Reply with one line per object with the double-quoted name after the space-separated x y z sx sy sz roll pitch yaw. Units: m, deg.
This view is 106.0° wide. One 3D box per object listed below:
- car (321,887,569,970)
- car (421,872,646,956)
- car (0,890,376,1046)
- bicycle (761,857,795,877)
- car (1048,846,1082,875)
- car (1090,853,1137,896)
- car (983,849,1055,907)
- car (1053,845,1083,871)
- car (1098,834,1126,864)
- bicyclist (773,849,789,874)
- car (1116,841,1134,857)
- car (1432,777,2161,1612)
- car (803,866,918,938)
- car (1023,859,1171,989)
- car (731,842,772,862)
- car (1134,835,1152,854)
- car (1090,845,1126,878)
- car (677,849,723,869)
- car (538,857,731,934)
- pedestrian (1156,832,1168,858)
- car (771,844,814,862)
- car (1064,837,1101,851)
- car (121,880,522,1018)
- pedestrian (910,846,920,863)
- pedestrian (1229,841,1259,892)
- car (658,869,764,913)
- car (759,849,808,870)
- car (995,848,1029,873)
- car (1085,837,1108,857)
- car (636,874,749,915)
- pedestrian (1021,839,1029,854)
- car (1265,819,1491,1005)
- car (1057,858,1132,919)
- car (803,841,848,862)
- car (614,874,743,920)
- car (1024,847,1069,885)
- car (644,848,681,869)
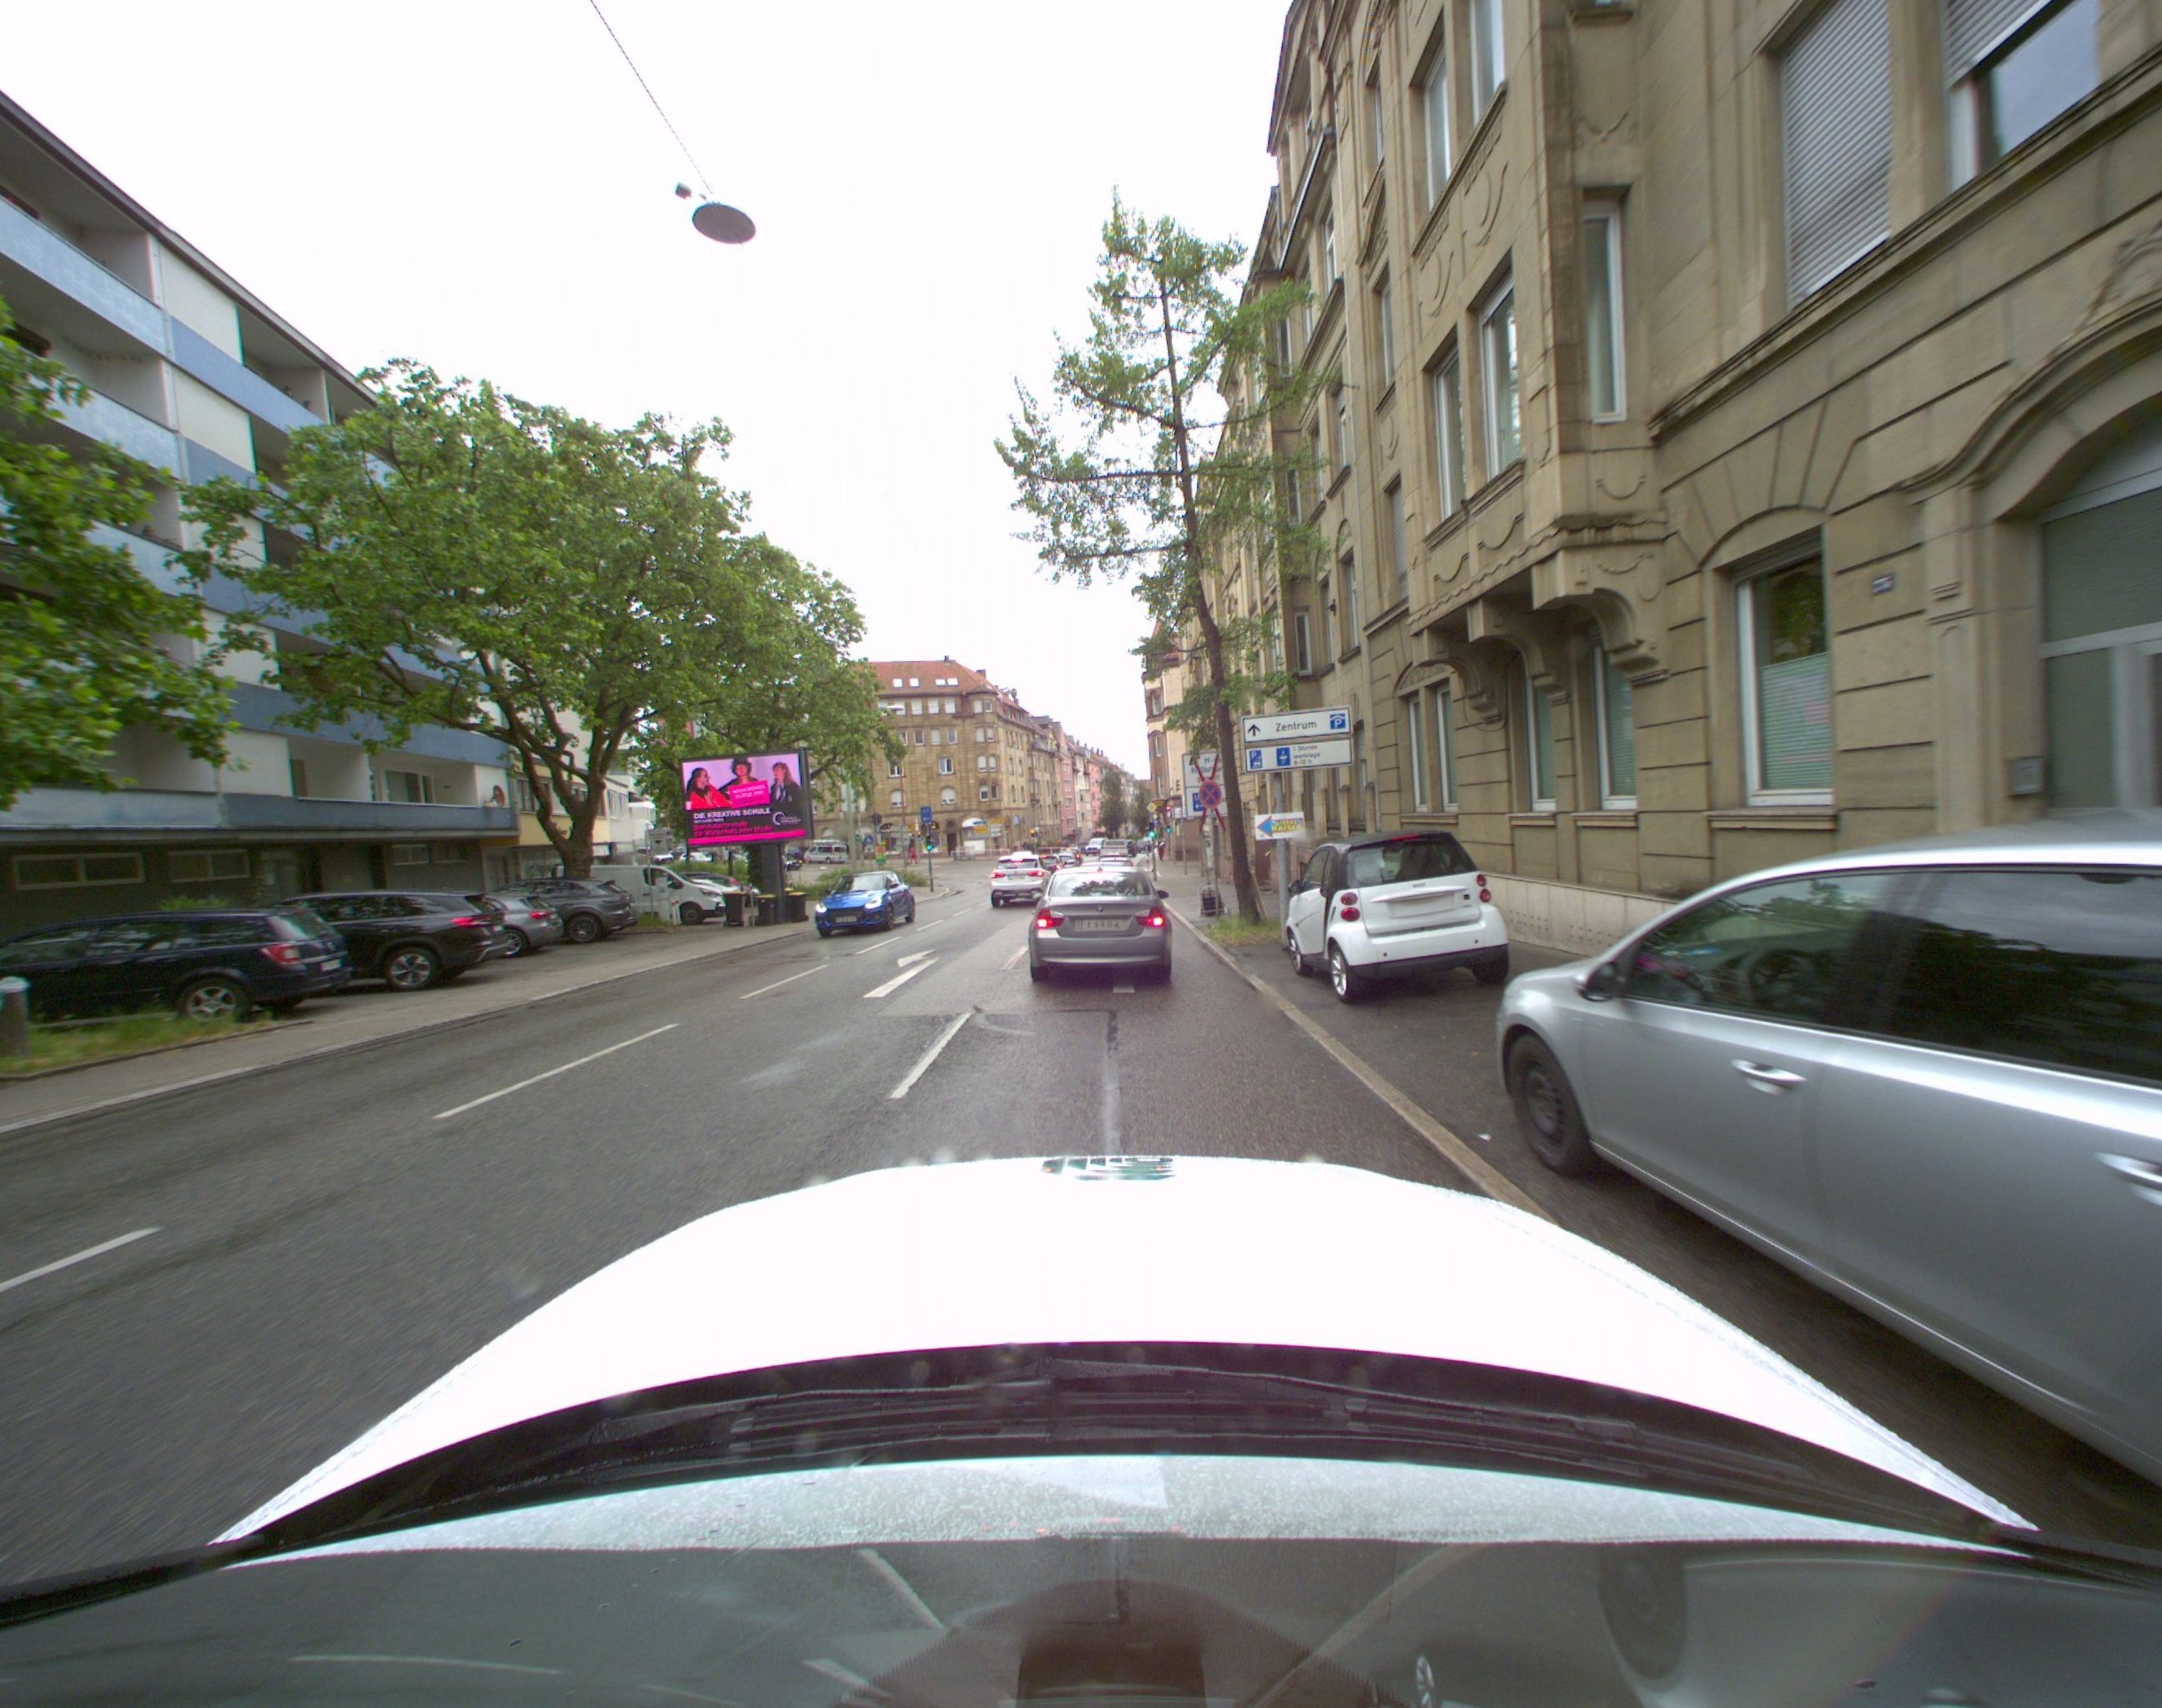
-13.798 1.570 17.973 3.939 1.430 1.734 -2 -1 -23 "car"
-13.888 1.458 20.981 4.369 1.784 1.927 -2 -1 -19 "car"
-12.507 1.451 10.731 4.372 1.574 1.930 -4 0 -21 "car"
-22.667 0.999 60.921 0.665 1.320 2.290 -4 0 42 "bicycle"
-0.957 0.379 50.261 1.752 1.707 4.004 -2 0 3 "car"
1.221 0.694 29.805 1.588 1.464 4.004 0 0 3 "car"
-1.985 0.743 27.236 1.861 1.625 4.002 -4 1 2 "car"
-0.892 0.279 57.569 1.752 1.707 4.004 -2 0 3 "car"
2.365 -0.351 61.178 1.986 2.106 4.002 -1 0 2 "car"
-22.484 0.584 61.025 0.775 1.821 0.775 -4 0 42 "bicyclist"
4.344 -0.466 80.096 1.717 1.552 4.004 0 -1 4 "car"
2.818 0.572 2.463 1.753 1.451 4.002 -7 0 2 "car"
-5.447 1.136 20.628 1.709 1.450 3.742 -6 0 1 "car"
0.288 0.805 10.965 1.616 1.383 3.618 -2 0 3 "car"
-36.332 -0.269 89.772 4.237 2.101 2.013 0 2 30 "car"
6.892 -1.084 90.668 1.715 2.014 4.009 0 -1 8 "car"
1.428 0.351 42.802 1.753 1.567 4.001 -2 0 1 "car"
-37.376 0.492 79.817 4.195 1.726 2.013 -1 2 31 "car"
-14.130 1.268 26.137 5.075 2.105 1.980 -2 -1 -19 "car"
6.138 -0.652 61.696 0.739 1.910 0.659 -3 0 1 "pedestrian"
-30.581 -0.139 86.296 4.237 1.838 2.013 0 2 30 "car"
0.259 -1.440 116.292 5.157 2.014 2.699 0 -1 1 "car"
-12.161 1.433 13.478 4.381 1.672 1.842 -4 0 -21 "car"
-15.888 0.075 77.971 0.531 1.577 0.724 -3 0 26 "pedestrian"
5.068 0.375 25.355 0.629 1.508 0.693 -7 0 1 "pedestrian"
-16.388 1.612 36.307 4.138 1.653 1.757 -2 -1 -21 "car"
-26.870 0.482 73.532 4.194 1.726 2.013 -1 2 33 "car"
-4.879 0.455 58.096 1.731 1.526 4.473 -6 0 2 "car"
1.654 -0.751 86.493 1.751 1.925 4.335 -3 0 9 "car"
-16.101 1.657 33.951 3.984 1.450 1.758 -2 -1 -19 "car"
-5.988 -0.803 87.365 0.727 1.577 0.530 -3 0 11 "pedestrian"
3.028 0.525 8.871 1.294 1.543 2.977 -7 0 2 "car"
0.442 0.829 21.534 1.752 1.383 4.004 -2 0 3 "car"
-26.236 -0.246 83.654 4.237 2.101 2.013 0 2 30 "car"
-15.338 1.618 31.282 4.184 1.456 1.783 -2 -1 -19 "car"
-1.625 0.552 39.936 1.752 1.707 4.004 -2 0 3 "car"
-42.808 0.466 83.336 3.948 2.013 1.587 -2 0 34 "car"
